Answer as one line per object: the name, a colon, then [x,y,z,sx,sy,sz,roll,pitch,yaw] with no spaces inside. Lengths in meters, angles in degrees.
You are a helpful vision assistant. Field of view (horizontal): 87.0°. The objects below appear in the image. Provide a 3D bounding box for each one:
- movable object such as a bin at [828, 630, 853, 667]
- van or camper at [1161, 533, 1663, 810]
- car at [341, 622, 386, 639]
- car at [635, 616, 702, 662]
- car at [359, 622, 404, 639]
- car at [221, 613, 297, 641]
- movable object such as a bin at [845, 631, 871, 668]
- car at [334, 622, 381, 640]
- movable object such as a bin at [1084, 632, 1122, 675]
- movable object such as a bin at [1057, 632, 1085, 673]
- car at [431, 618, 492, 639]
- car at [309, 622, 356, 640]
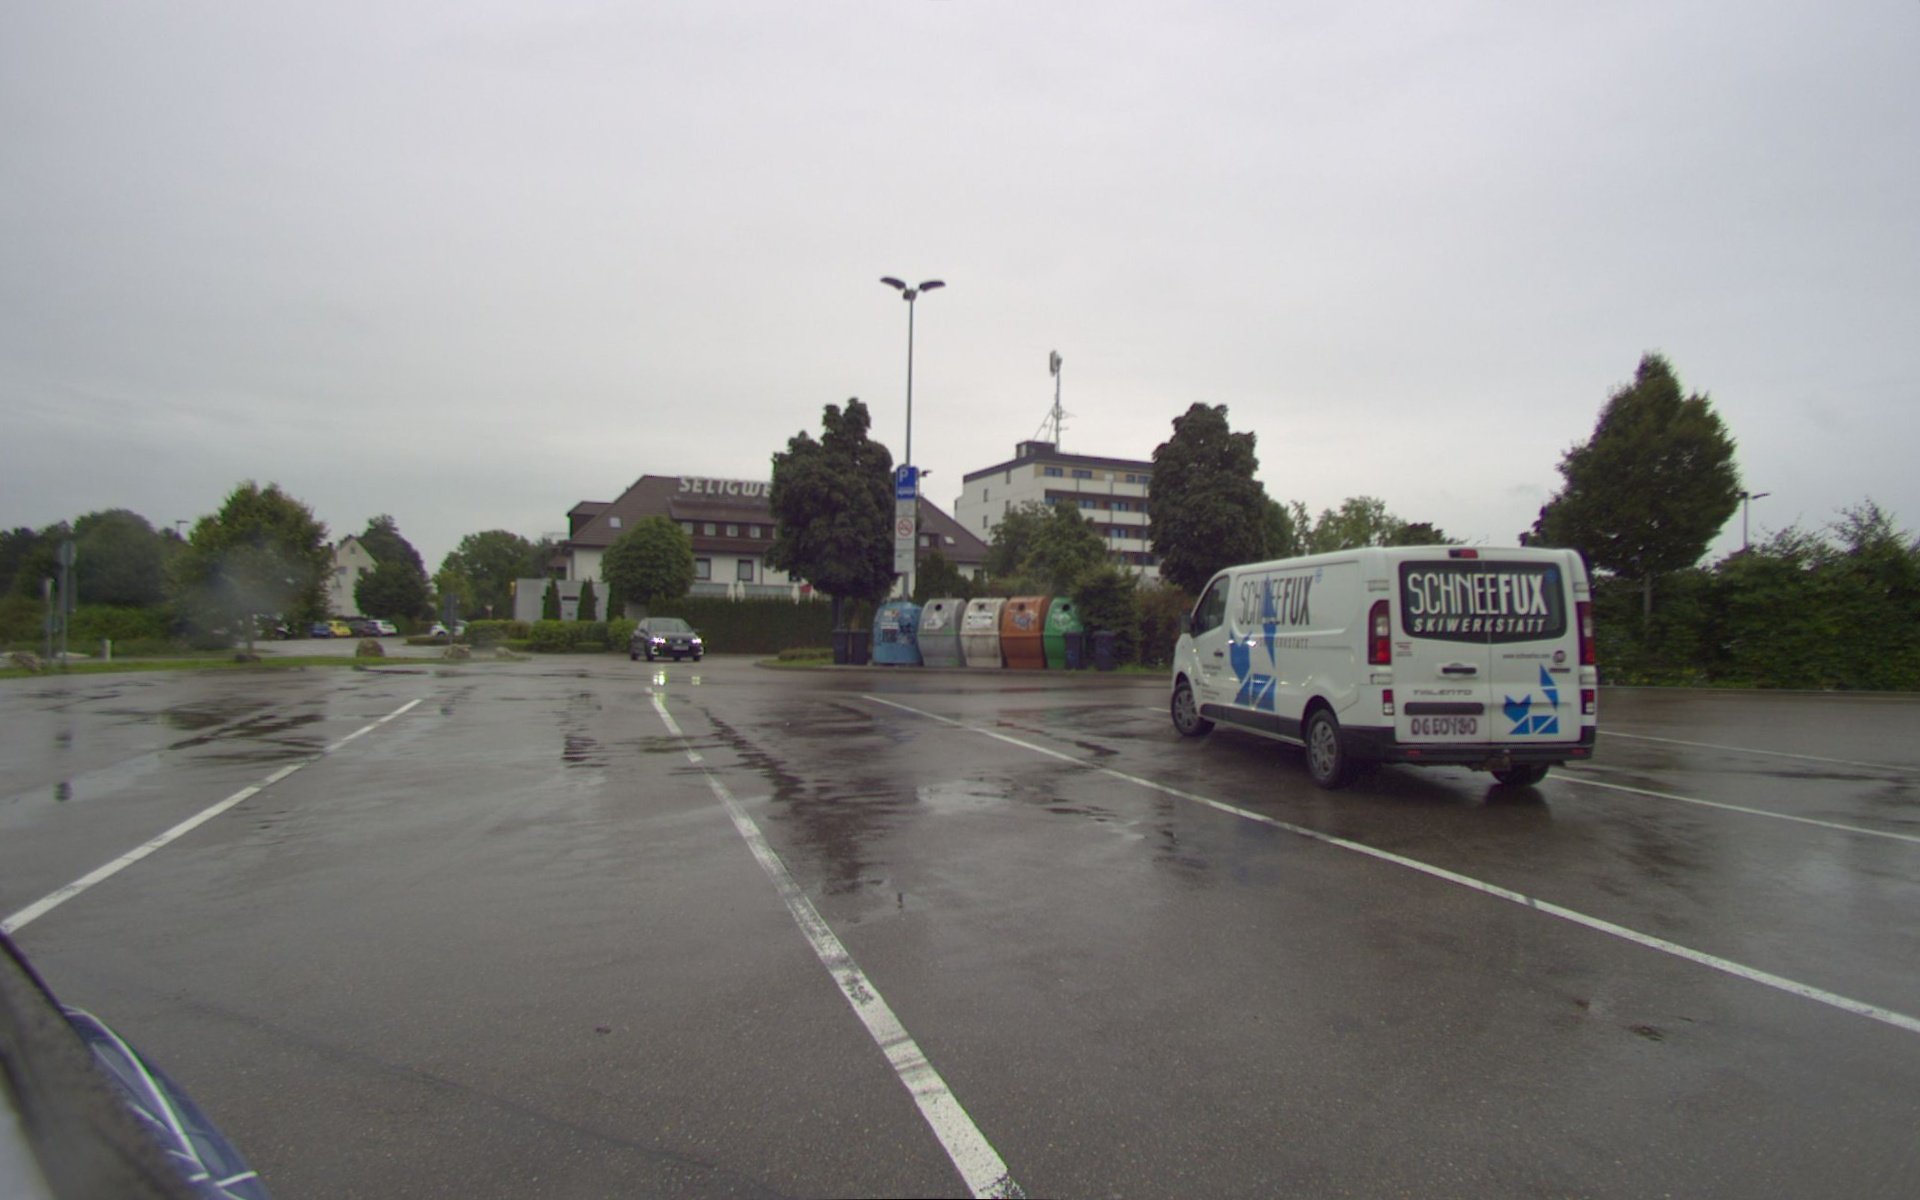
movable object such as a bin: [-3.104,1.262,26.342,0.443,0.946,0.489,1,-2,-44]
van or camper: [3.758,0.535,9.820,2.161,1.960,5.203,0,-1,-5]
car: [-53.255,2.731,90.365,3.652,1.469,1.575,-1,-1,20]
car: [-9.831,1.258,33.949,1.749,1.444,4.092,0,-1,-22]
car: [-52.697,2.765,92.224,3.652,1.469,1.575,-1,-1,20]
car: [-52.675,2.003,76.175,4.456,2.049,1.650,0,-1,-25]
movable object such as a bin: [-2.627,1.269,26.060,0.443,0.924,0.489,1,-2,-44]
car: [-52.608,2.708,88.335,3.652,1.469,1.575,-1,-1,20]
movable object such as a bin: [3.173,1.180,22.451,0.619,0.927,0.558,1,-1,-33]
movable object such as a bin: [2.522,1.186,23.015,0.486,0.927,0.417,1,-1,-33]
car: [-38.248,2.173,77.723,4.116,1.509,1.723,0,-1,-25]
car: [-53.716,2.664,86.640,3.652,1.469,1.546,-1,-1,20]
